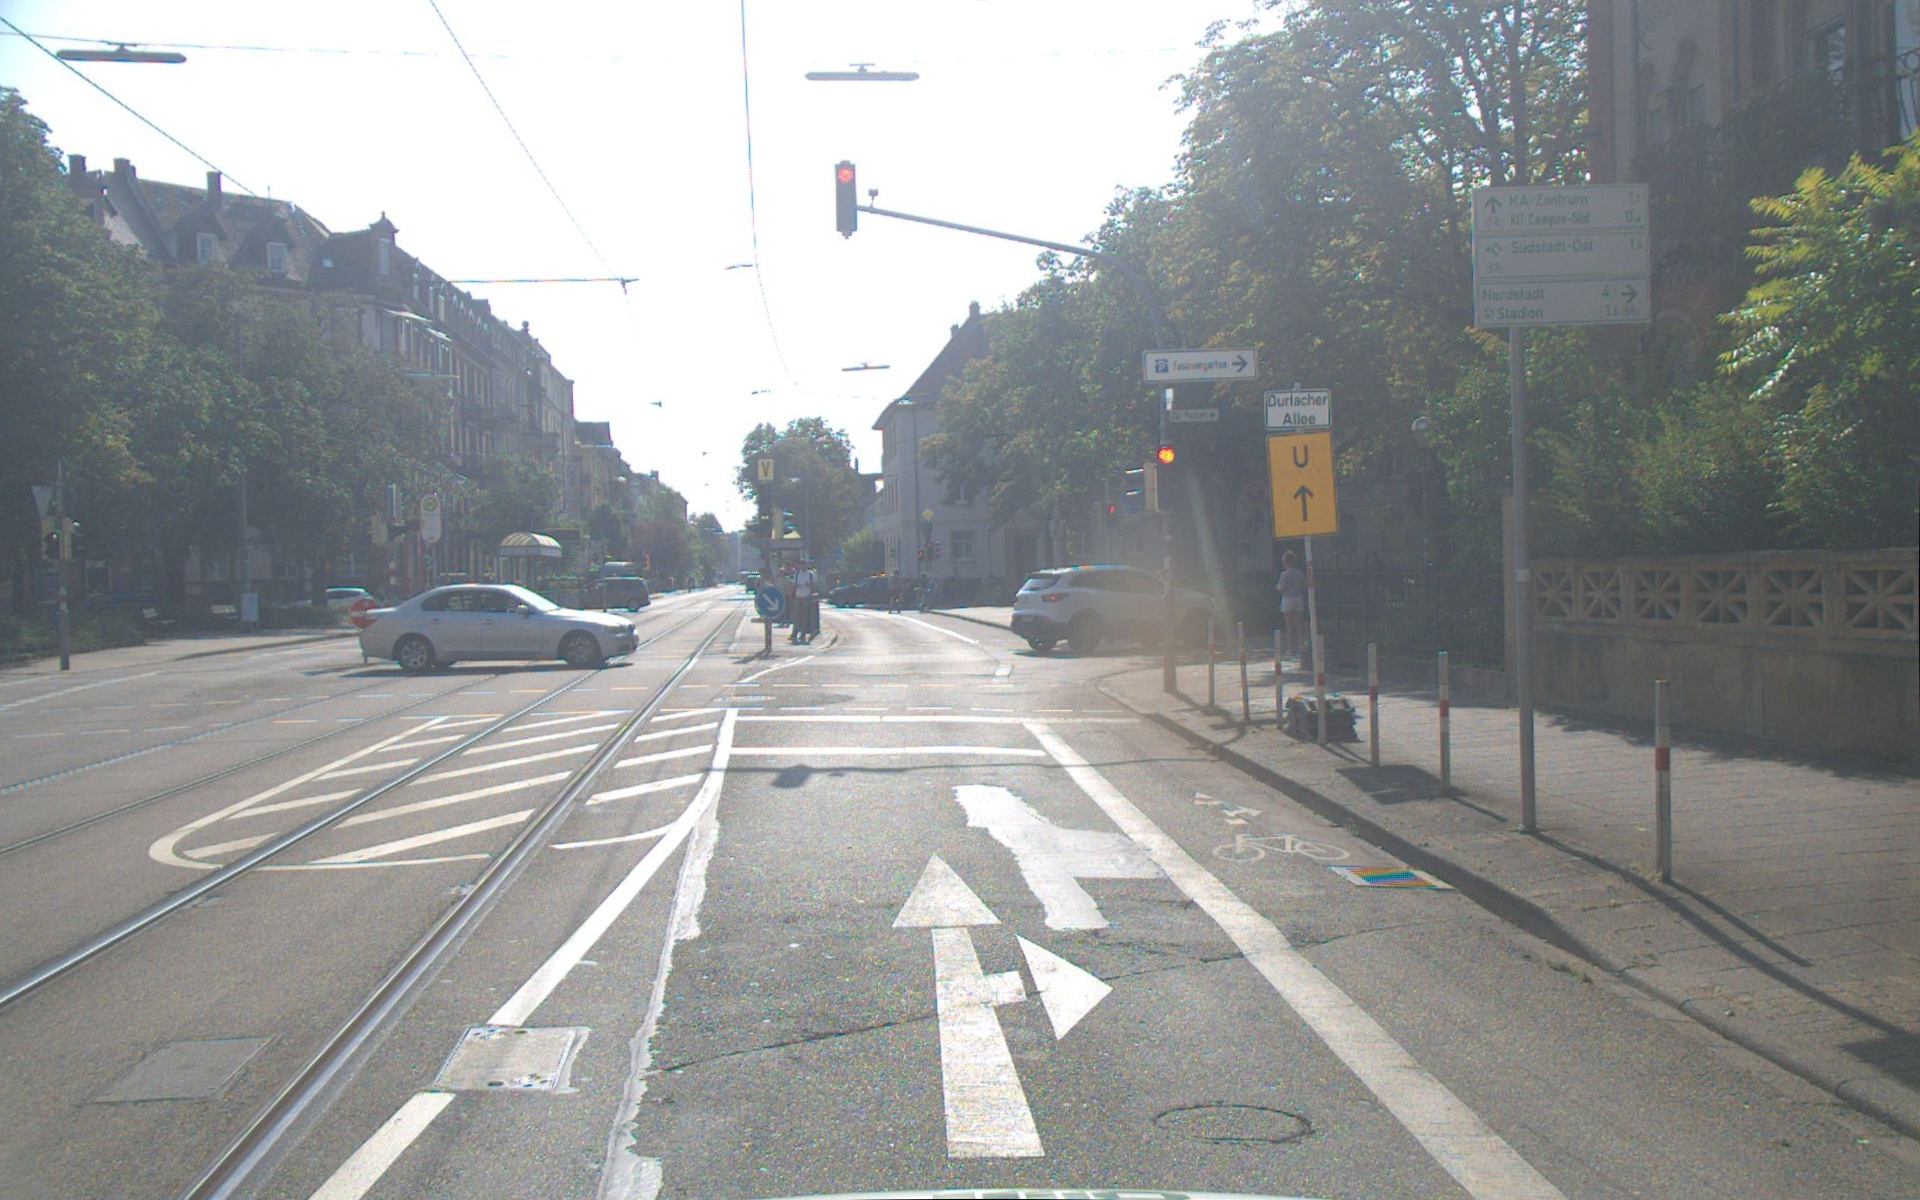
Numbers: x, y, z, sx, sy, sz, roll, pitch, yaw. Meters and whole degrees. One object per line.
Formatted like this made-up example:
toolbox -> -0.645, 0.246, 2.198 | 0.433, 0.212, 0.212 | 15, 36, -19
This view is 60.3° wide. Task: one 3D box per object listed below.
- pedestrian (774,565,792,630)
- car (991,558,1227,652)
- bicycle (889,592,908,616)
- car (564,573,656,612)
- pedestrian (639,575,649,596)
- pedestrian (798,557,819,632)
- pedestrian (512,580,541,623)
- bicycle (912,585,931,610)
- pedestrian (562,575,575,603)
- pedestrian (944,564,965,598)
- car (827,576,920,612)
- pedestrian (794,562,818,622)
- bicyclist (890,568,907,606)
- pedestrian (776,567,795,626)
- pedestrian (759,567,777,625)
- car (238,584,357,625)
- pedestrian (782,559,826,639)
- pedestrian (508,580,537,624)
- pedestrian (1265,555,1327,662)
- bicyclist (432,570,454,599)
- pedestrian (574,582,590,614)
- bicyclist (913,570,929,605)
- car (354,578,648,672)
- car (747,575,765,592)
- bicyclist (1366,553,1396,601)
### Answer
pedestrian -> -4.965, -0.067, 46.410 | 0.494, 1.790, 0.533 | 1, 3, -6
car -> 2.951, 0.065, 32.617 | 4.270, 1.659, 1.981 | -2, 1, -29
bicycle -> -2.571, 0.162, 69.410 | 0.617, 0.995, 1.767 | -2, 1, -8
car -> -16.861, -0.372, 79.564 | 4.250, 1.704, 1.992 | -2, 1, -15
pedestrian -> -26.943, -1.203, 141.165 | 0.737, 1.761, 0.768 | -2, 1, -15
pedestrian -> -3.831, -0.145, 41.809 | 0.494, 1.865, 0.533 | 1, 3, -6
pedestrian -> -14.158, 0.041, 54.070 | 0.813, 1.382, 0.774 | -2, 1, -11
bicycle -> -1.603, -0.103, 68.828 | 0.547, 0.995, 1.853 | -2, 1, -8
pedestrian -> -25.645, -0.718, 108.310 | 0.737, 1.761, 0.768 | -2, 1, -15
pedestrian -> -0.284, -0.985, 87.348 | 0.872, 1.770, 0.777 | -1, 1, 15
car -> -4.191, -0.298, 80.596 | 4.231, 1.596, 2.001 | -1, 1, 4
pedestrian -> -4.704, -0.243, 50.655 | 0.695, 1.790, 0.533 | 1, 3, -6
bicyclist -> -2.583, -0.549, 69.399 | 0.617, 1.533, 0.677 | -2, 1, -8
pedestrian -> -5.405, -0.121, 51.202 | 0.532, 1.790, 0.533 | 1, 3, -6
pedestrian -> -6.102, -0.133, 52.550 | 0.522, 1.790, 0.544 | 1, 3, -5
car -> -28.373, 0.171, 70.904 | 4.305, 1.596, 1.967 | -2, 1, -45
pedestrian -> -3.540, -0.042, 37.555 | 0.686, 1.755, 0.747 | 3, 3, 26
pedestrian -> -14.030, 0.052, 53.102 | 0.813, 1.382, 0.774 | -2, 1, -11
pedestrian -> 5.669, 0.142, 27.925 | 0.737, 1.761, 0.768 | -2, 1, -15
bicyclist -> -24.058, -0.719, 76.968 | 0.802, 1.351, 0.548 | -2, 1, -2
pedestrian -> -21.310, -0.111, 93.252 | 0.735, 1.761, 0.771 | -1, 1, -4
bicyclist -> -1.623, -0.536, 68.836 | 0.547, 1.441, 0.870 | -2, 1, -8
car -> -8.068, 0.414, 29.419 | 4.674, 1.492, 1.870 | -2, 1, -2
car -> -21.019, -1.682, 170.551 | 1.766, 1.682, 3.638 | -2, 1, -5
bicyclist -> 16.541, -0.905, 64.962 | 0.972, 1.889, 0.490 | -1, 1, 43
